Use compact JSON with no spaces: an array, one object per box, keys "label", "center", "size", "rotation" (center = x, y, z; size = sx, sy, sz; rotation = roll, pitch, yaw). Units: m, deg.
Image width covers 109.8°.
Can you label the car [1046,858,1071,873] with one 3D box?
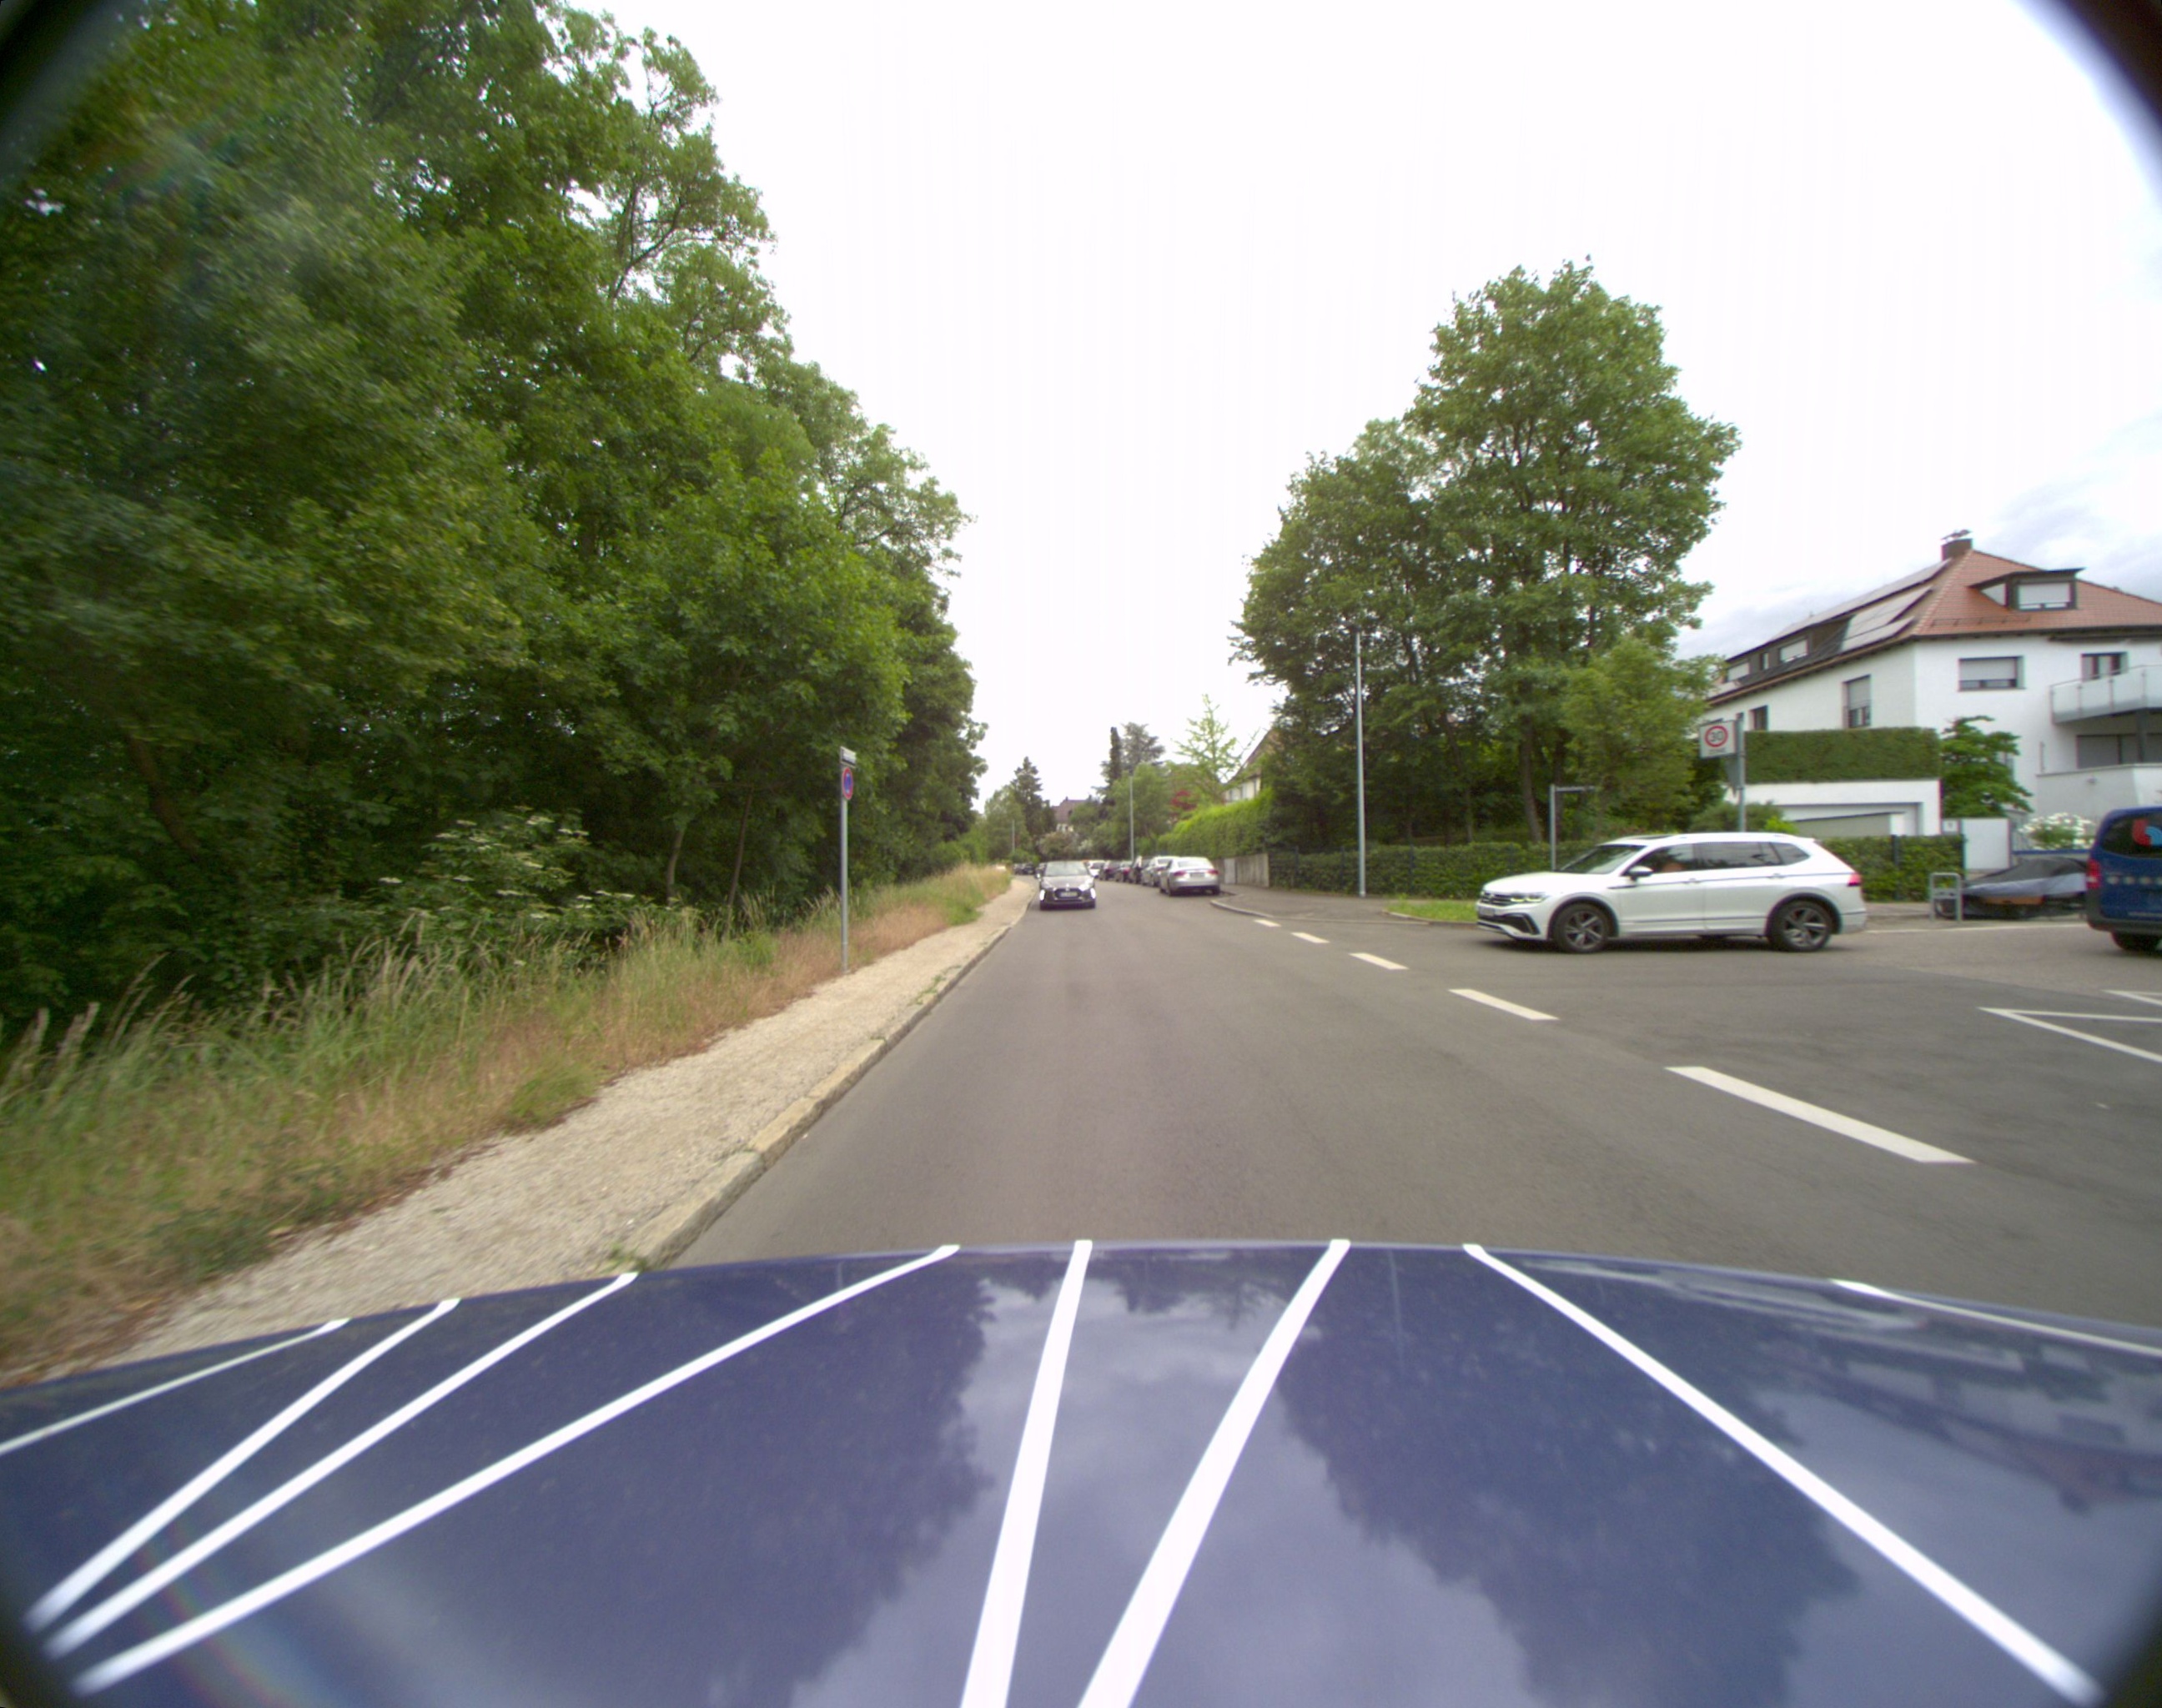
[{"label":"car","center":[-2.359,1.171,79.182],"size":[1.713,1.505,4.490],"rotation":[-2,0,-13]}]

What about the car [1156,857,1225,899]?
[{"label":"car","center":[4.018,0.836,28.512],"size":[1.836,1.365,4.445],"rotation":[-2,0,-1]}]

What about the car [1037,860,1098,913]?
[{"label":"car","center":[-0.343,0.946,23.980],"size":[1.711,1.466,4.195],"rotation":[-2,0,2]}]

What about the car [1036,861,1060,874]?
[{"label":"car","center":[-3.654,1.462,84.192],"size":[1.713,1.402,4.155],"rotation":[-2,0,-16]}]

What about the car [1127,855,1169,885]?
[{"label":"car","center":[3.667,0.857,42.467],"size":[1.661,1.524,4.473],"rotation":[-2,0,-3]}]

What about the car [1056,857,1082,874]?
[{"label":"car","center":[-1.216,1.125,74.766],"size":[1.713,1.505,4.359],"rotation":[-2,0,-11]}]

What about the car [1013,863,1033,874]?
[{"label":"car","center":[-7.683,1.922,100.452],"size":[1.713,1.408,4.144],"rotation":[-2,0,-16]}]

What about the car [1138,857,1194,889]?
[{"label":"car","center":[4.021,0.867,36.717],"size":[1.780,1.365,4.339],"rotation":[-2,0,-5]}]

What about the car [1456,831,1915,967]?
[{"label":"car","center":[8.485,0.607,11.120],"size":[4.946,1.660,2.038],"rotation":[-2,1,5]}]

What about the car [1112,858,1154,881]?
[{"label":"car","center":[3.231,0.954,47.979],"size":[1.717,1.333,4.105],"rotation":[-2,0,-8]}]

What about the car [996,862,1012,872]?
[{"label":"car","center":[-11.649,1.988,114.677],"size":[1.713,1.502,3.941],"rotation":[-2,0,-16]}]

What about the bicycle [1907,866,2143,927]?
[{"label":"bicycle","center":[16.816,0.744,13.651],"size":[2.578,0.995,0.654],"rotation":[-2,0,31]}]

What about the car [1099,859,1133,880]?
[{"label":"car","center":[2.438,1.103,54.095],"size":[1.723,1.376,4.661],"rotation":[-2,0,-6]}]

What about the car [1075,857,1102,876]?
[{"label":"car","center":[0.624,1.079,66.451],"size":[1.549,1.505,3.640],"rotation":[-2,0,-11]}]

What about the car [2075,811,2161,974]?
[{"label":"car","center":[14.663,0.371,9.047],"size":[4.533,1.869,1.940],"rotation":[-2,0,-17]}]

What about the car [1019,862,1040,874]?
[{"label":"car","center":[-6.488,1.806,95.547],"size":[1.713,1.408,4.127],"rotation":[-2,0,-16]}]

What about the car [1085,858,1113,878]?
[{"label":"car","center":[1.421,1.131,61.817],"size":[1.593,1.505,3.587],"rotation":[-2,0,-9]}]
